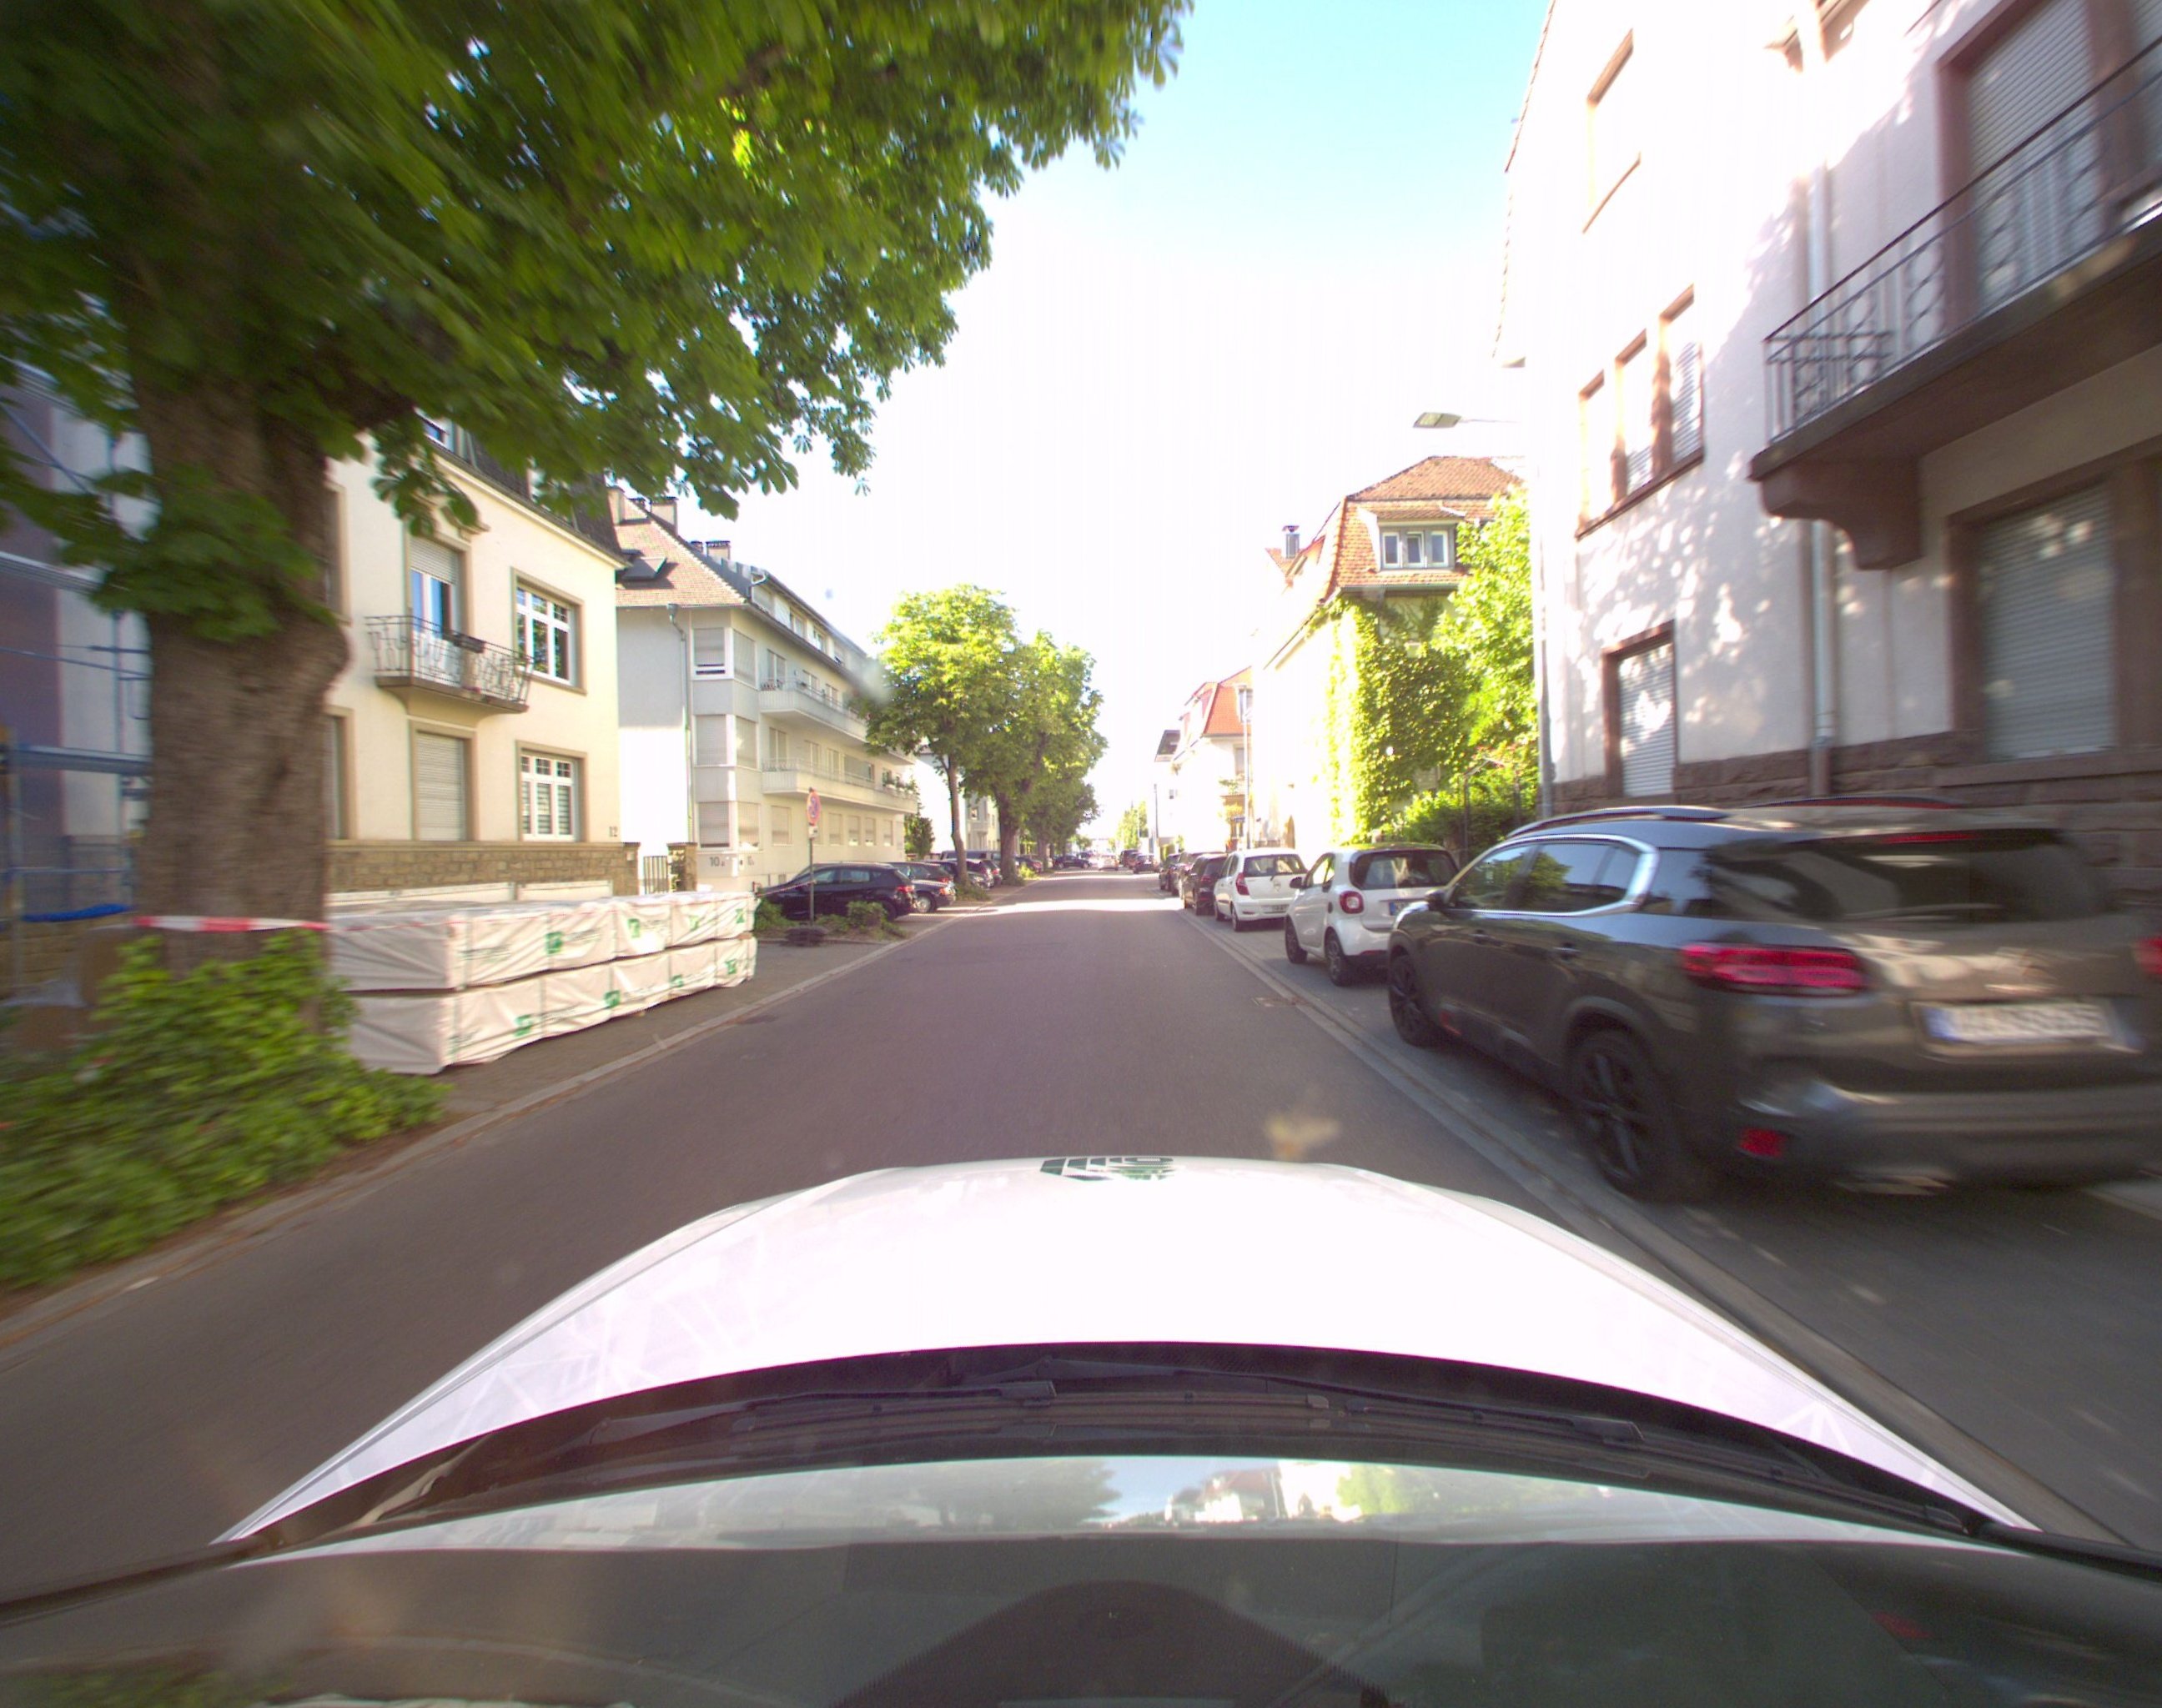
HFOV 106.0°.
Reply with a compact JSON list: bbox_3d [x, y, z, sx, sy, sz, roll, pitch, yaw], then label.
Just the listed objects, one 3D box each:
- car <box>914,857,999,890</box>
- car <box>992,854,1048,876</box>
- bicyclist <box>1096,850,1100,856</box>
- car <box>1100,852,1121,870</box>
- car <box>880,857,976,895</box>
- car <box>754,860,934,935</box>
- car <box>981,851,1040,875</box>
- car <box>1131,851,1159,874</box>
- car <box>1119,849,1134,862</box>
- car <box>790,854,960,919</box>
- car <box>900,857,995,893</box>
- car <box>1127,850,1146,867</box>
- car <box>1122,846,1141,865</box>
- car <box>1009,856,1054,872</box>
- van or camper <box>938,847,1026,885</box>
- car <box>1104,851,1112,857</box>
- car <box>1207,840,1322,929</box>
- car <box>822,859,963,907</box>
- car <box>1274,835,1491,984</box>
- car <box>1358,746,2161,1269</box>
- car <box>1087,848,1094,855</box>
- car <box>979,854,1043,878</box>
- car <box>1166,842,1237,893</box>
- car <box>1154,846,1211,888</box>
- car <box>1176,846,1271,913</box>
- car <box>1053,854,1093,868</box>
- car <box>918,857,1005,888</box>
[{"bbox_3d":[-5.547,0.856,36.532,3.464,1.458,1.798,0,0,2],"label":"car"},{"bbox_3d":[-4.586,0.827,61.460,3.973,1.468,1.697,-2,0,0],"label":"car"},{"bbox_3d":[4.068,-0.222,195.552,0.718,1.537,1.137,-3,0,2],"label":"bicyclist"},{"bbox_3d":[2.598,0.604,70.923,1.720,1.420,3.963,-3,0,2],"label":"car"},{"bbox_3d":[-5.854,0.849,31.506,3.471,1.420,1.708,0,-1,-4],"label":"car"},{"bbox_3d":[-5.598,0.995,19.669,3.868,1.514,1.828,-3,0,-8],"label":"car"},{"bbox_3d":[-5.537,0.690,64.667,4.369,1.652,1.824,-3,1,2],"label":"car"},{"bbox_3d":[4.603,0.584,59.214,1.614,1.439,3.934,-4,0,0],"label":"car"},{"bbox_3d":[5.851,0.199,104.925,1.730,1.531,4.180,-3,0,2],"label":"car"},{"bbox_3d":[-5.942,0.909,23.966,4.586,1.607,1.828,-3,0,-8],"label":"car"},{"bbox_3d":[-5.527,0.862,34.009,3.628,1.463,1.712,0,0,3],"label":"car"},{"bbox_3d":[5.155,0.385,75.757,1.586,1.480,3.248,-4,0,1],"label":"car"},{"bbox_3d":[5.428,0.143,88.274,1.864,1.905,5.201,-3,-1,3],"label":"car"},{"bbox_3d":[-4.618,0.909,76.496,4.009,1.484,1.807,0,0,0],"label":"car"},{"bbox_3d":[-5.346,0.637,44.407,4.481,1.914,1.964,-2,0,1],"label":"van or camper"},{"bbox_3d":[6.634,0.016,199.914,1.718,1.330,3.996,-3,0,-3],"label":"car"},{"bbox_3d":[3.626,0.579,16.645,1.570,1.549,3.469,-3,-1,1],"label":"car"},{"bbox_3d":[-6.093,0.918,26.650,4.174,1.441,1.713,-1,0,0],"label":"car"},{"bbox_3d":[3.506,0.600,9.989,1.619,1.549,2.870,-1,-1,1],"label":"car"},{"bbox_3d":[3.189,0.526,4.823,1.771,1.696,4.322,0,-1,2],"label":"car"},{"bbox_3d":[2.609,-0.713,220.512,1.780,1.532,4.004,6,1,3],"label":"car"},{"bbox_3d":[-4.796,0.795,56.235,4.173,1.498,1.861,-2,0,0],"label":"car"},{"bbox_3d":[4.024,0.459,27.872,1.785,1.520,4.367,-3,-1,1],"label":"car"},{"bbox_3d":[4.073,0.543,33.251,1.658,1.520,3.999,-3,-1,-2],"label":"car"},{"bbox_3d":[3.526,0.611,20.909,1.703,1.436,4.193,-4,-1,1],"label":"car"},{"bbox_3d":[-0.851,0.736,86.526,4.179,1.448,1.711,0,-1,-3],"label":"car"},{"bbox_3d":[-5.675,0.889,38.925,3.910,1.414,1.715,0,1,-1],"label":"car"}]
